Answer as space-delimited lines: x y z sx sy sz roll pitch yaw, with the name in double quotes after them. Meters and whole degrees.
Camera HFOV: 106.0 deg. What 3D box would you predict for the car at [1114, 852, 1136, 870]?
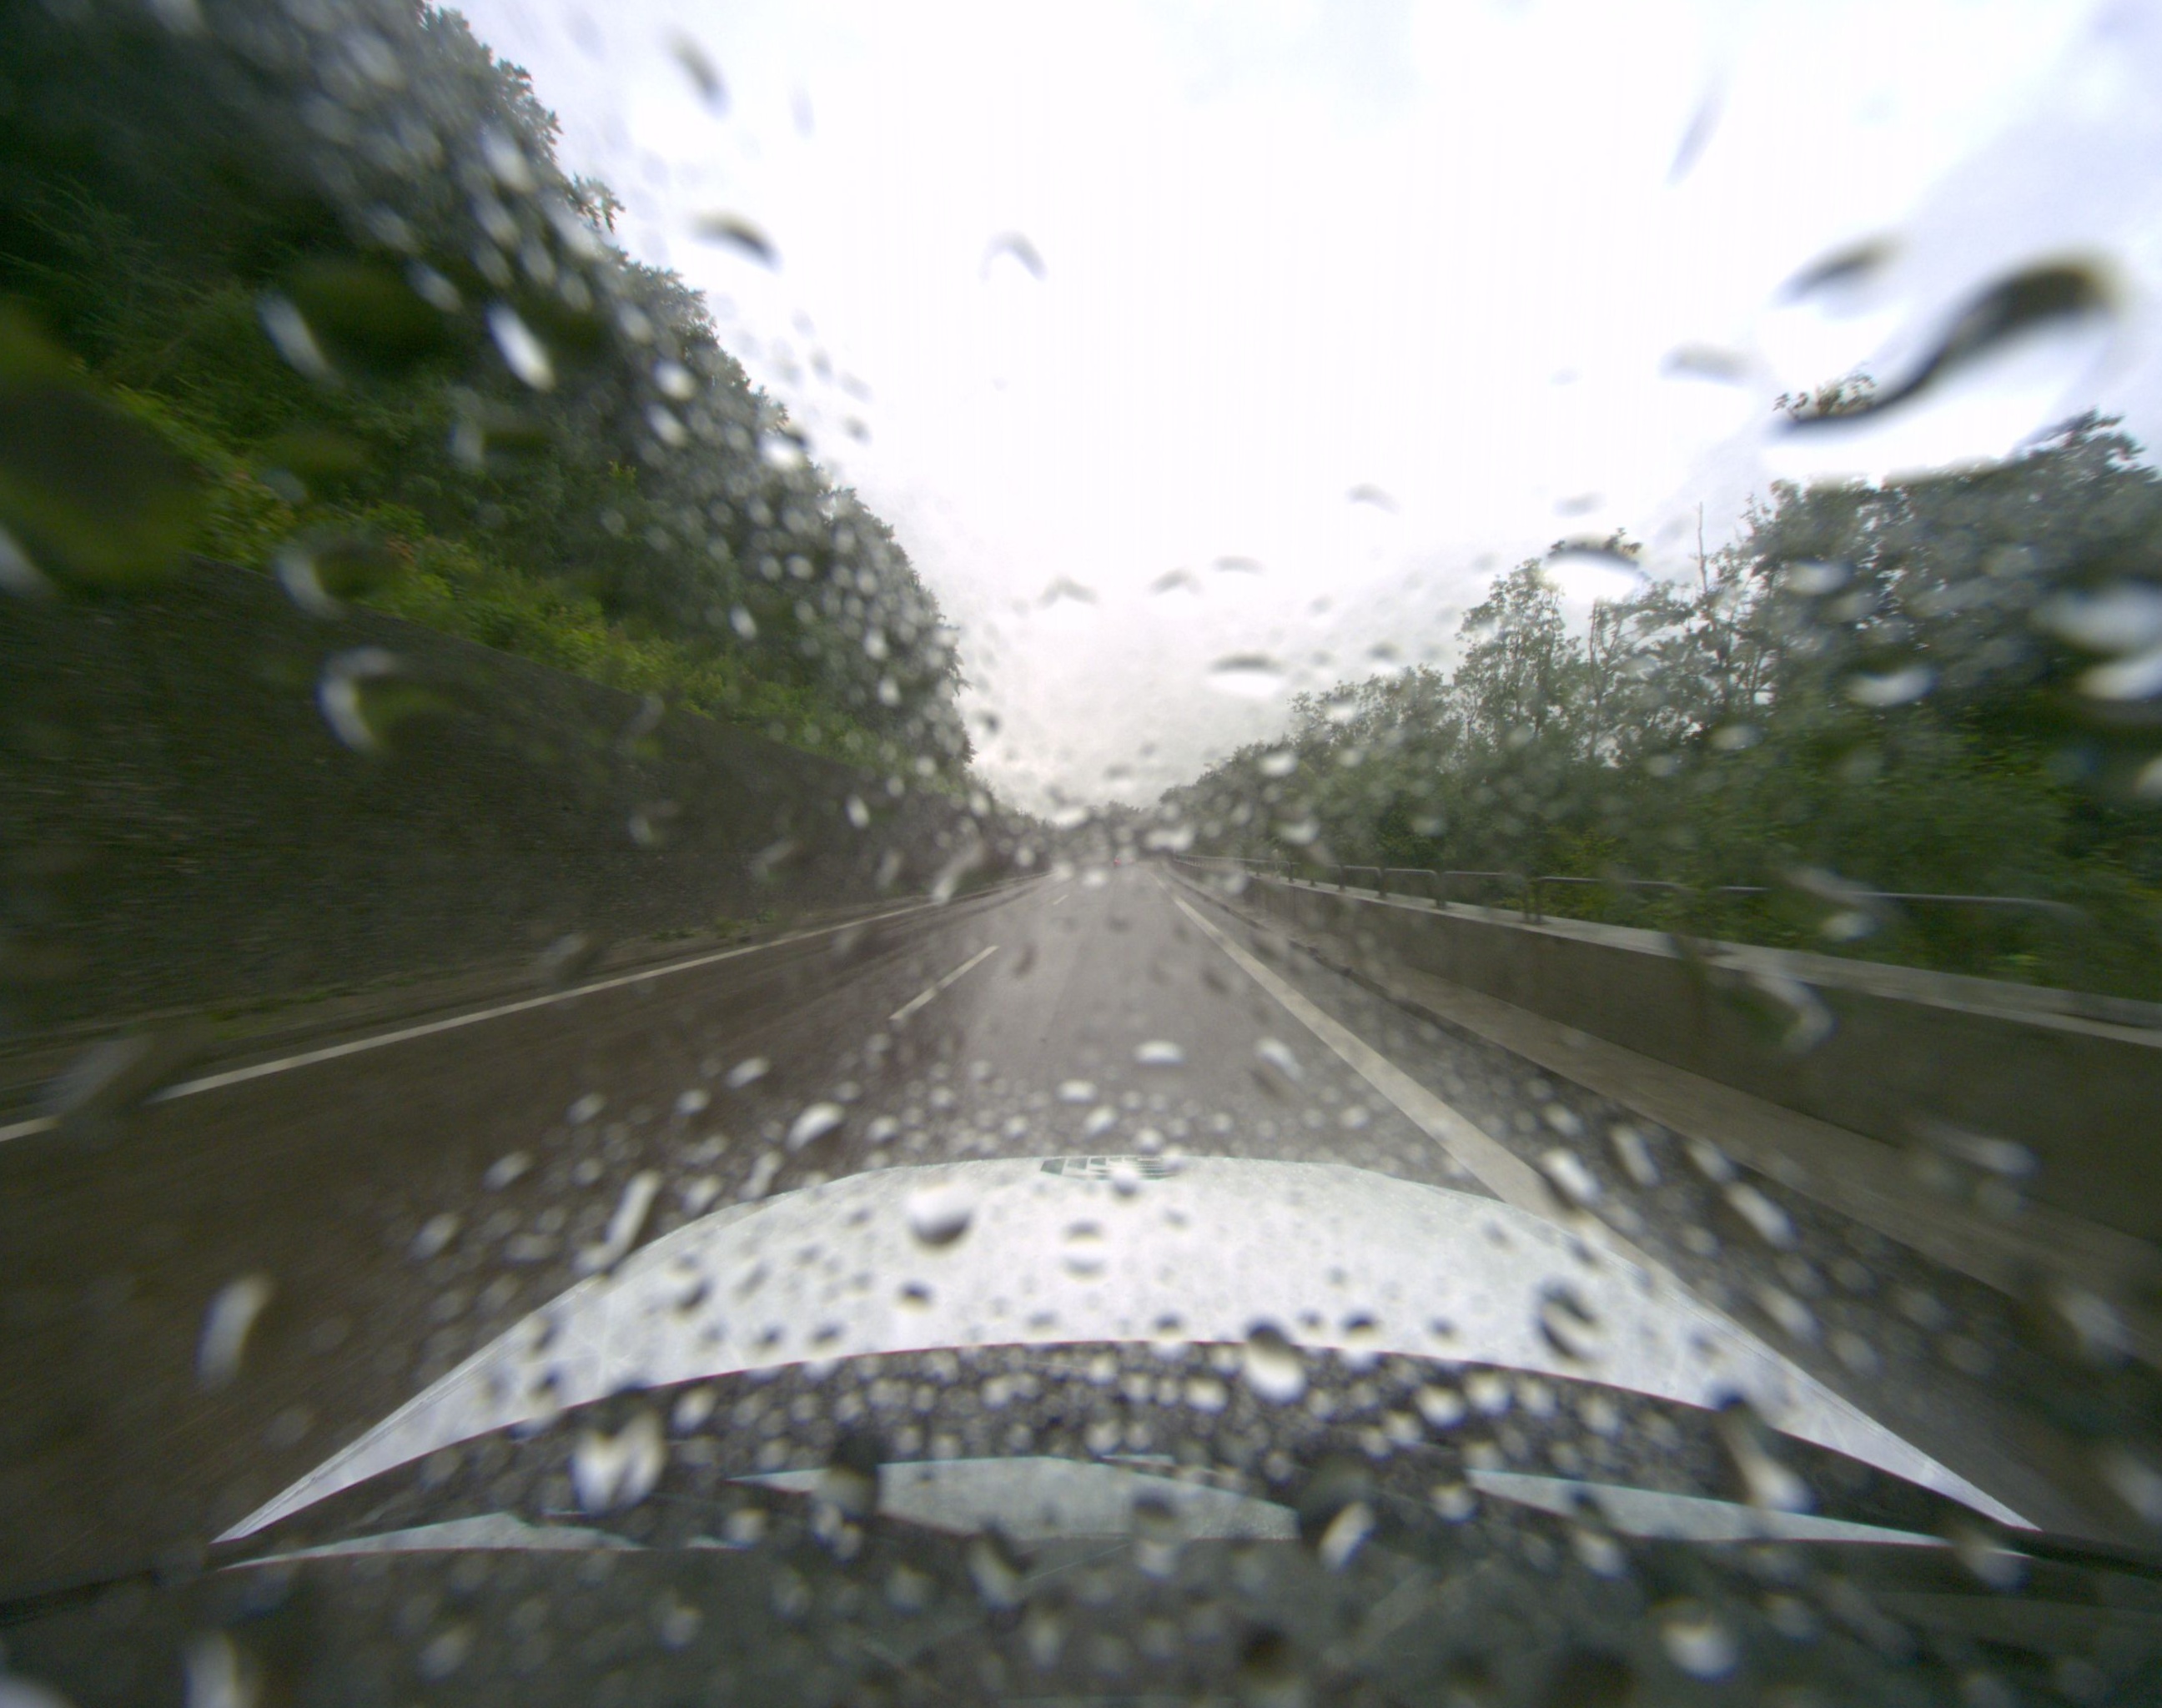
3.926 0.581 73.043 1.896 1.499 4.002 -1 0 2 "car"
